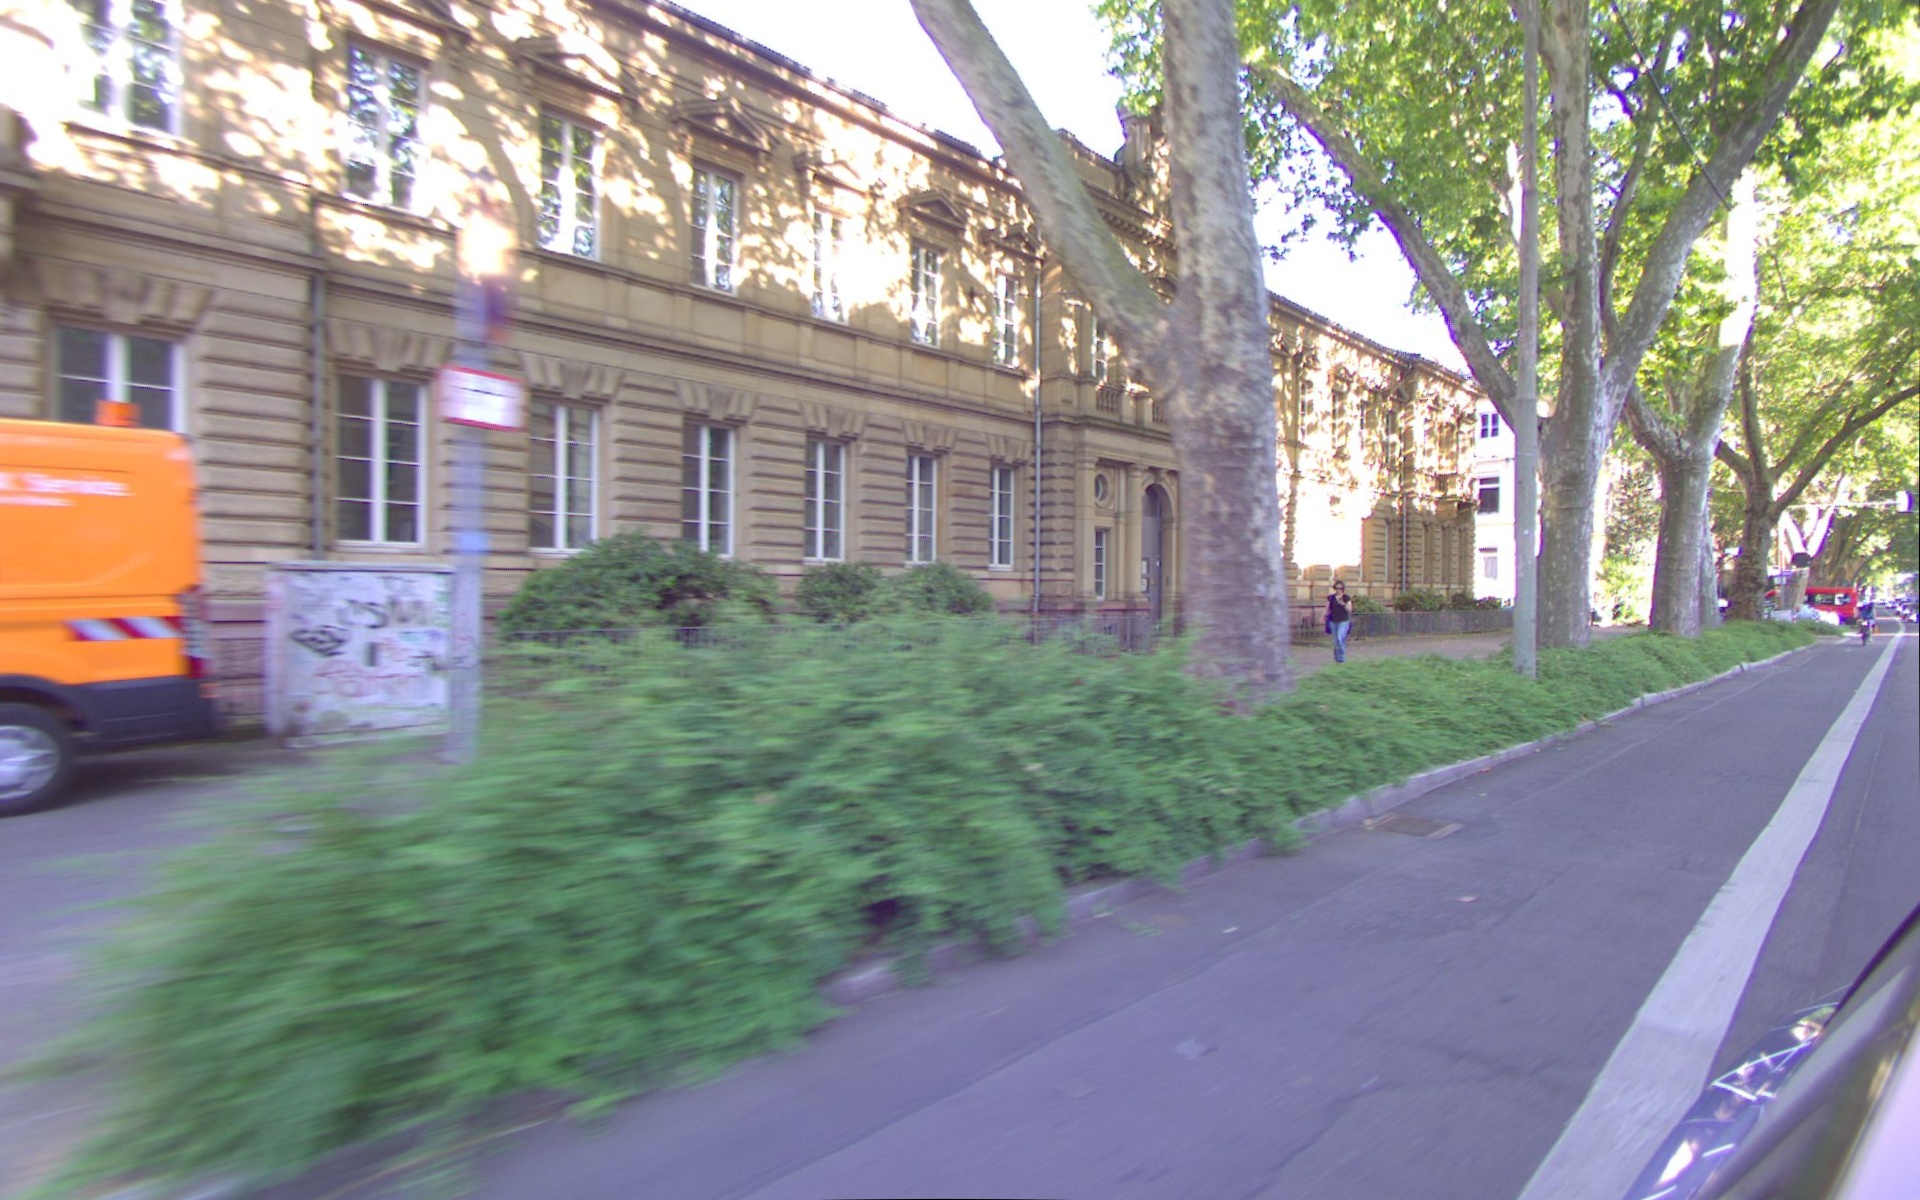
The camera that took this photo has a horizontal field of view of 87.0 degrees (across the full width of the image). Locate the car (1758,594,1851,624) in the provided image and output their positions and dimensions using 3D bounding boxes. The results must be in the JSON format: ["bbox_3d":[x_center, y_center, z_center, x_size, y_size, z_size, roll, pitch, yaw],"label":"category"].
[{"bbox_3d":[44.509,0.441,53.361,3.668,1.435,1.590,1,3,44],"label":"car"}]

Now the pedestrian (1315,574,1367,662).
[{"bbox_3d":[7.821,0.359,20.783,0.650,1.758,0.991,1,0,44],"label":"pedestrian"}]

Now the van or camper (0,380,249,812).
[{"bbox_3d":[-7.599,-0.032,5.673,5.679,2.591,2.037,0,1,-45],"label":"van or camper"}]

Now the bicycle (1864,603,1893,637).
[{"bbox_3d":[32.699,0.683,36.016,0.713,1.152,2.087,1,1,44],"label":"bicycle"}]

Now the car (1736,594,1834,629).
[{"bbox_3d":[40.747,0.527,50.040,3.668,1.561,1.590,1,3,44],"label":"car"}]

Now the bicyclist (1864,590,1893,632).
[{"bbox_3d":[32.680,0.394,35.991,0.938,1.461,0.713,0,0,-45],"label":"bicyclist"}]

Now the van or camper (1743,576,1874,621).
[{"bbox_3d":[50.339,-0.141,60.153,5.909,2.528,2.188,1,3,42],"label":"van or camper"}]

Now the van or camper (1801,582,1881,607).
[{"bbox_3d":[90.369,-0.567,103.835,6.085,2.461,2.389,1,1,44],"label":"van or camper"}]

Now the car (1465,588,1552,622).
[{"bbox_3d":[27.846,0.214,51.408,3.563,1.561,1.710,1,3,44],"label":"car"}]
